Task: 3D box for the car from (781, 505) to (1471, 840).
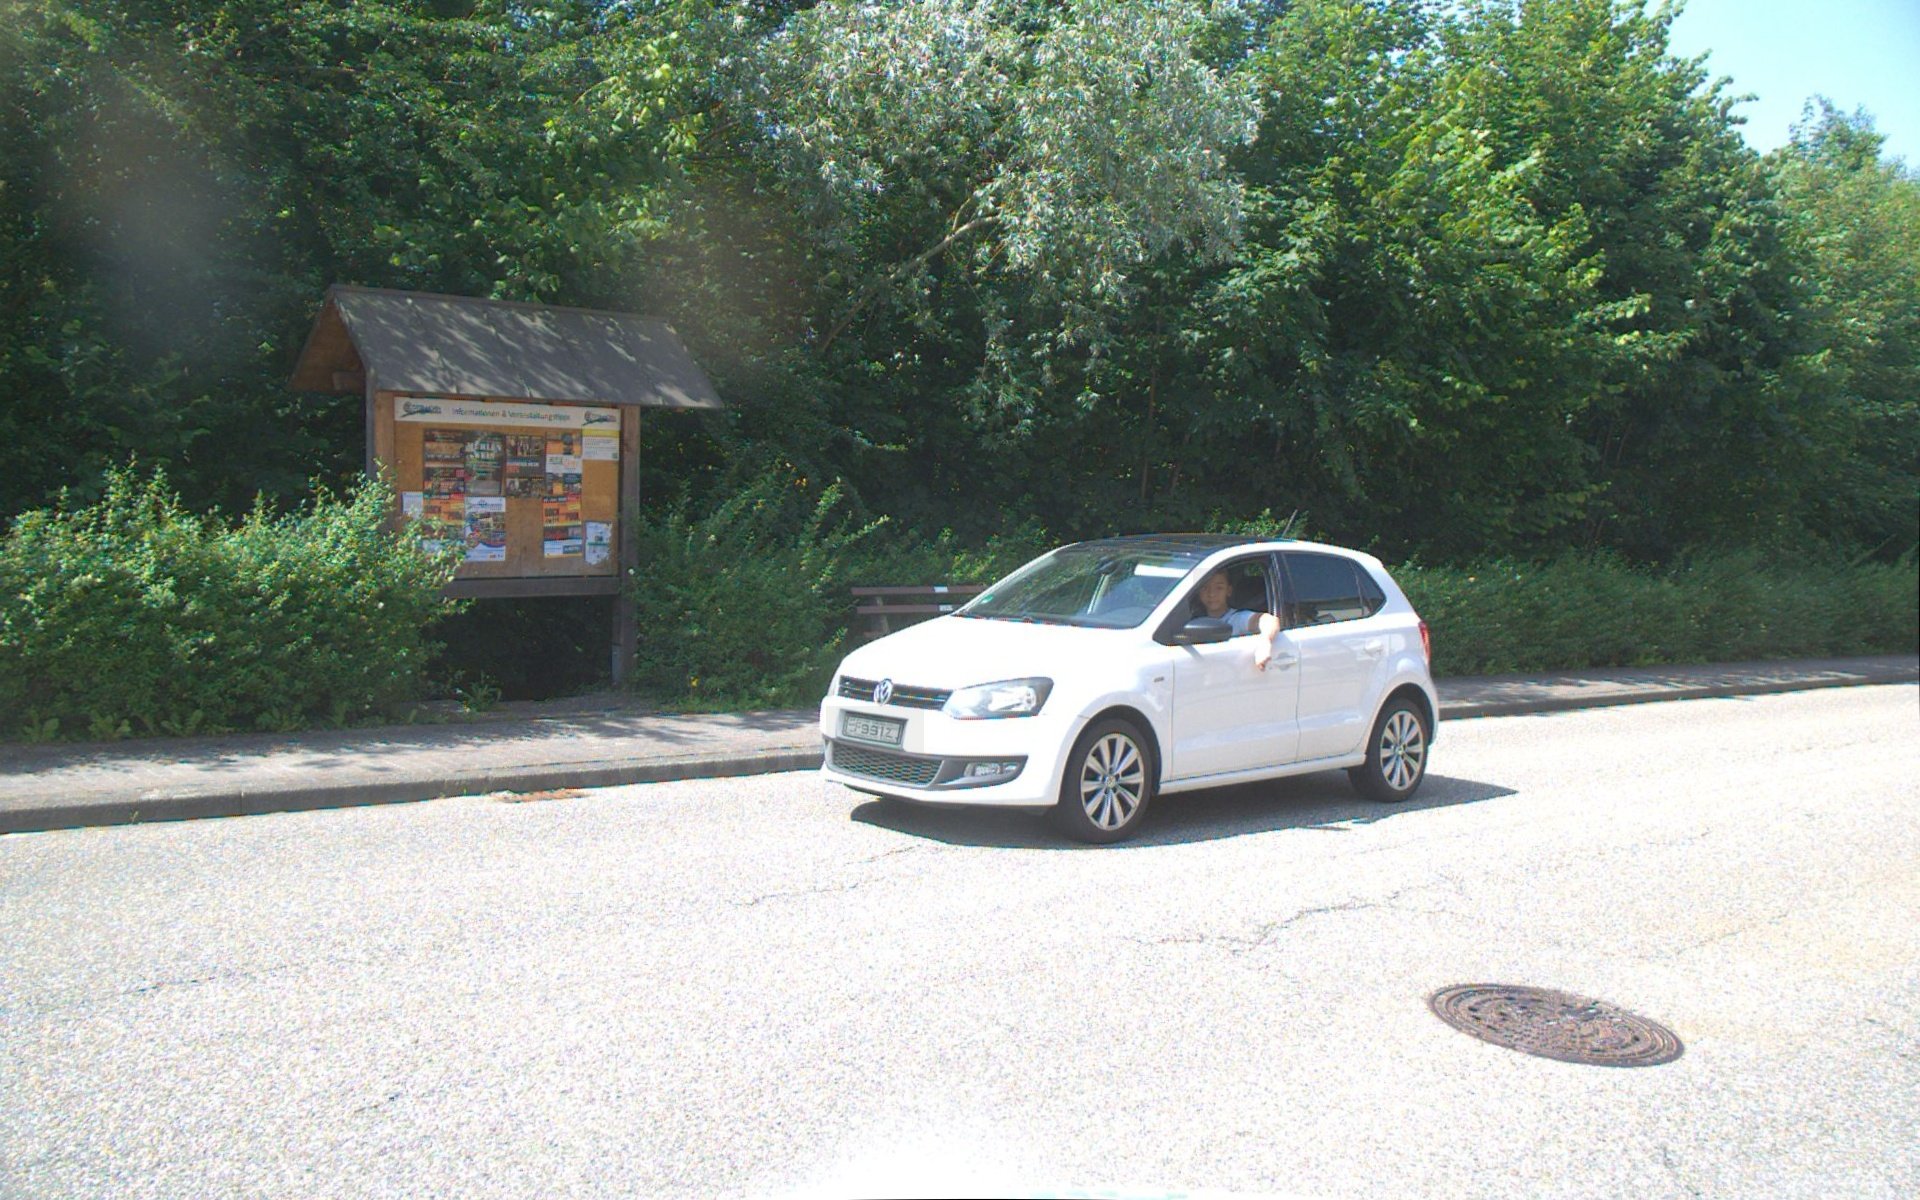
[{"bbox_3d":[1.043,0.314,8.947,3.795,1.430,1.585,1,1,-43],"label":"car"}]
